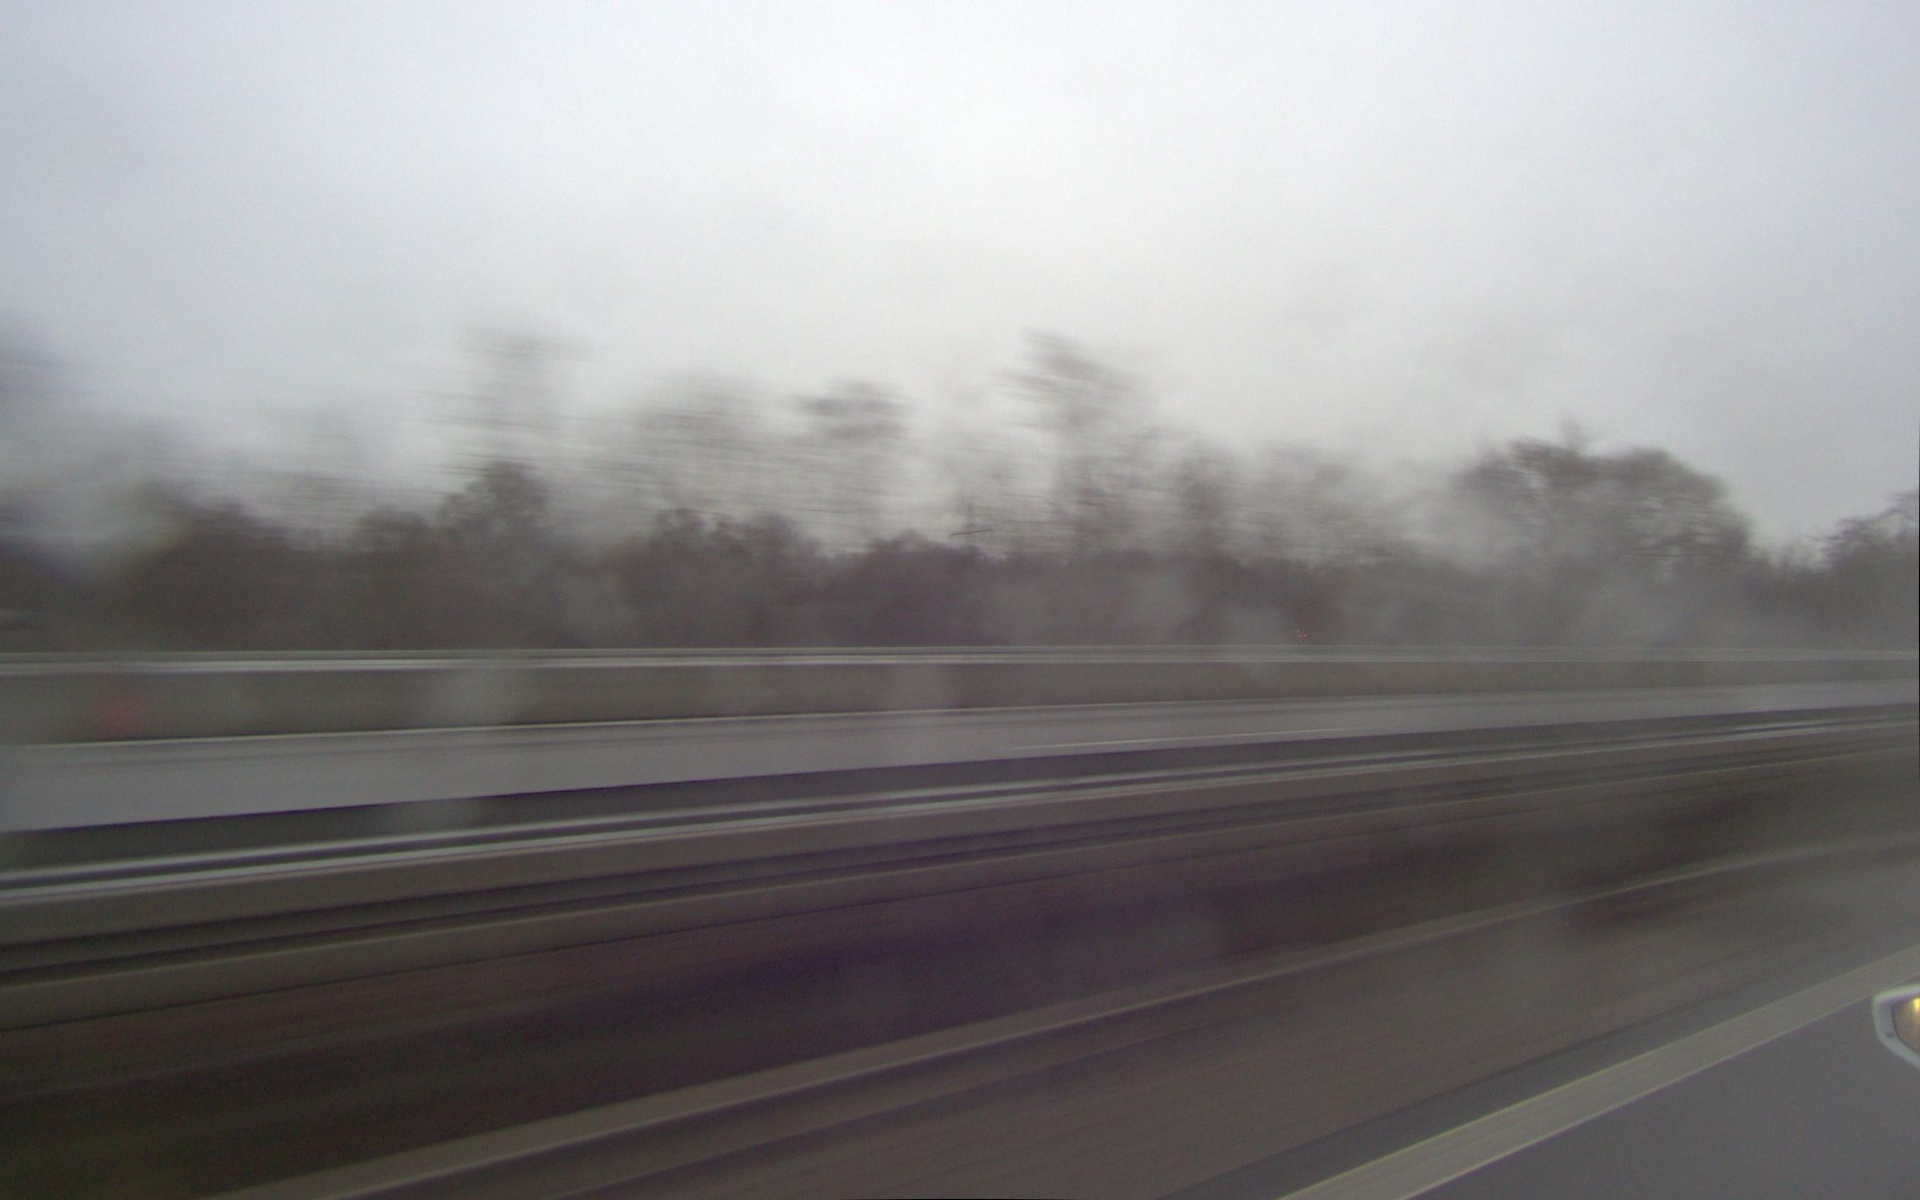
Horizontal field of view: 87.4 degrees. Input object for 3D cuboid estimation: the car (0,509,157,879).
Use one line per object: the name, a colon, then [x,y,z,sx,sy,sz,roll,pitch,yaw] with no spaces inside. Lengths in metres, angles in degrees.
car: [-7.083,0.440,4.789,4.752,1.815,2.154,1,-1,-30]
